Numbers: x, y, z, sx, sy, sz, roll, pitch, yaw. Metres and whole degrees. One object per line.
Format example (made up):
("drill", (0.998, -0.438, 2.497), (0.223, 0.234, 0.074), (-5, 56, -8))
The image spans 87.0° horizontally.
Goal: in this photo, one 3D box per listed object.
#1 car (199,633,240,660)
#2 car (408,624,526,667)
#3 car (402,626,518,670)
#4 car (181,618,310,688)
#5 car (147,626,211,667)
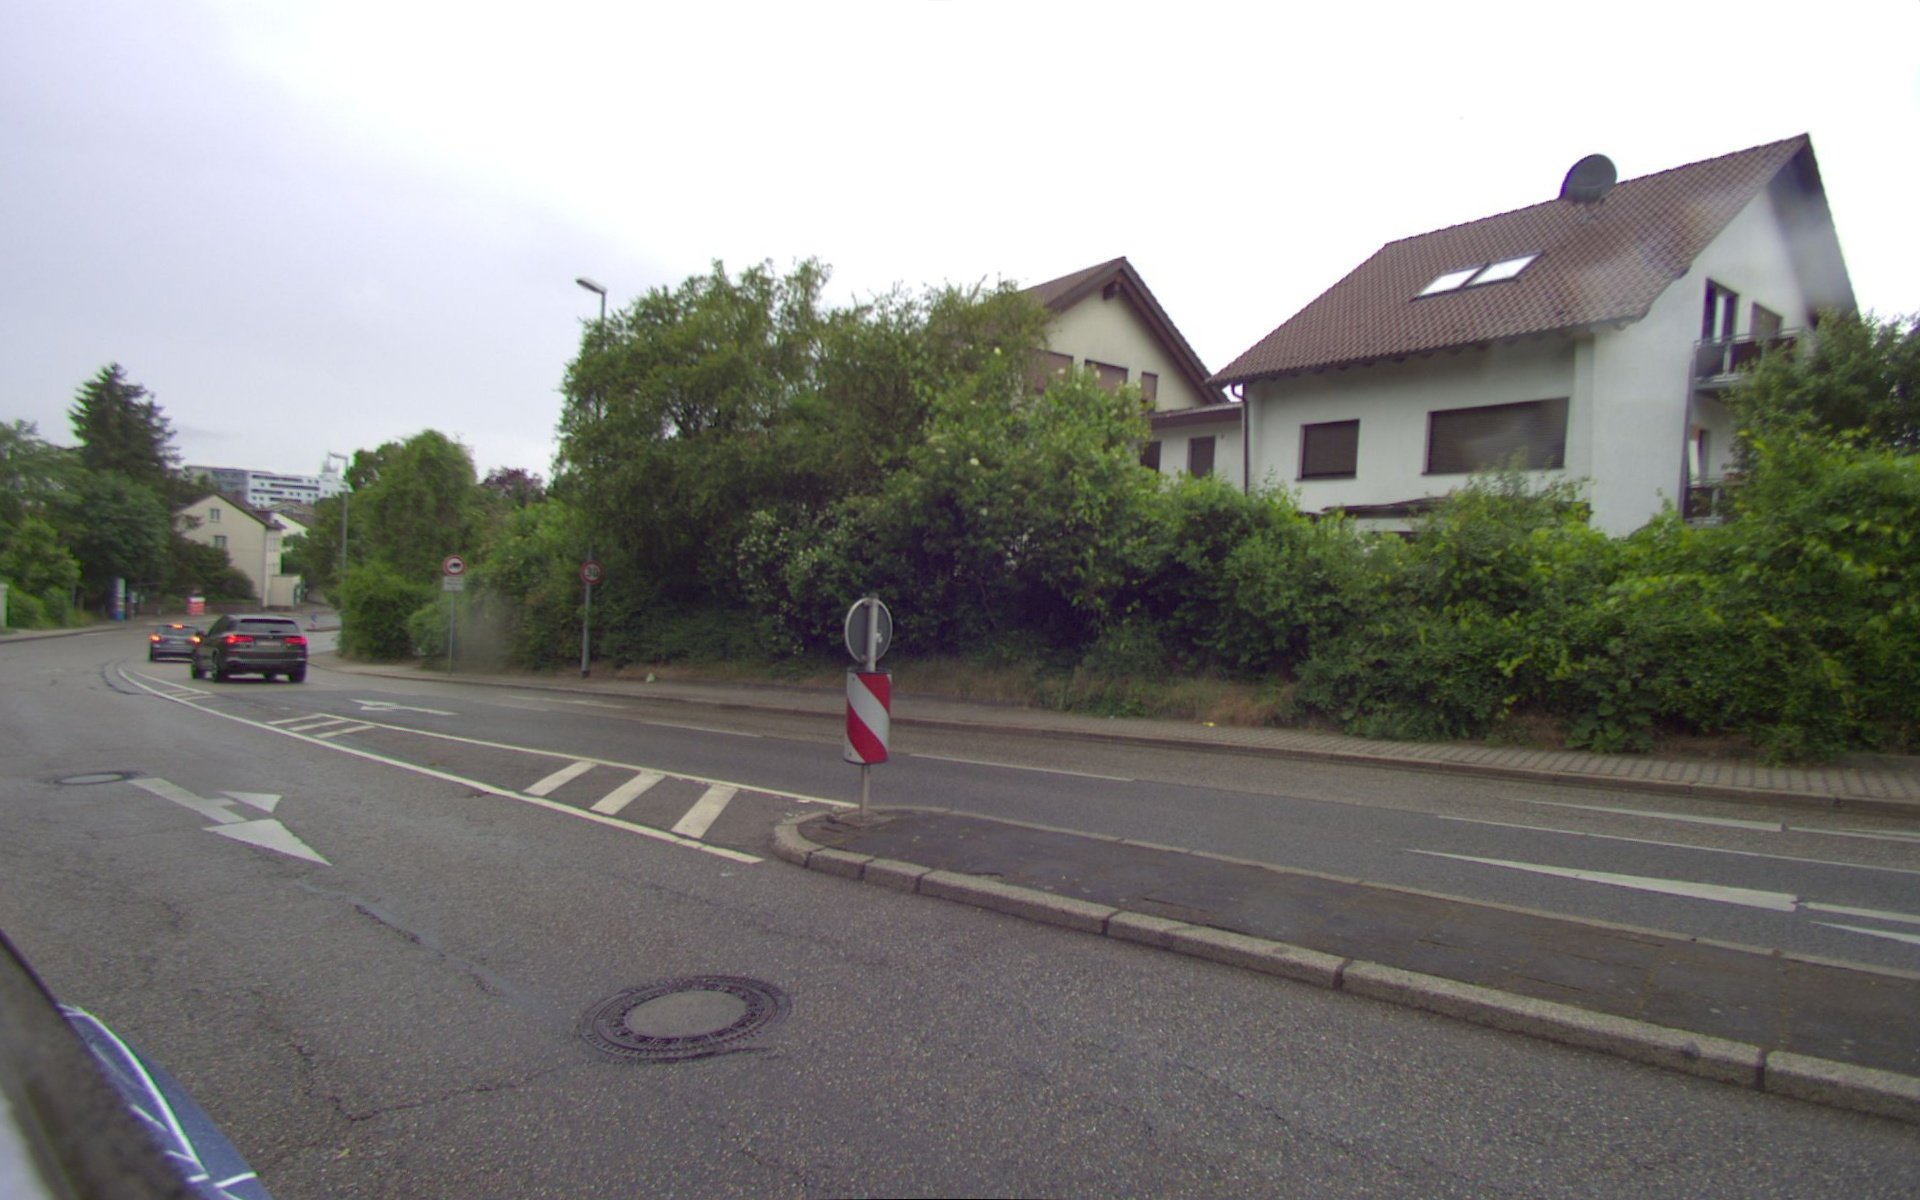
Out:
("car", (-44.590, 2.787, 60.922), (1.870, 1.521, 4.009), (3, -3, -36))
("car", (-19.504, 1.763, 40.103), (3.853, 1.451, 1.814), (-3, 1, -41))
("car", (-20.985, 1.970, 42.546), (3.939, 1.548, 2.003), (-3, 1, -42))
("car", (-19.223, 1.370, 27.145), (4.719, 1.730, 1.971), (-1, -3, 44))
("car", (-32.421, 1.940, 42.103), (1.719, 1.614, 4.043), (3, -3, -33))
